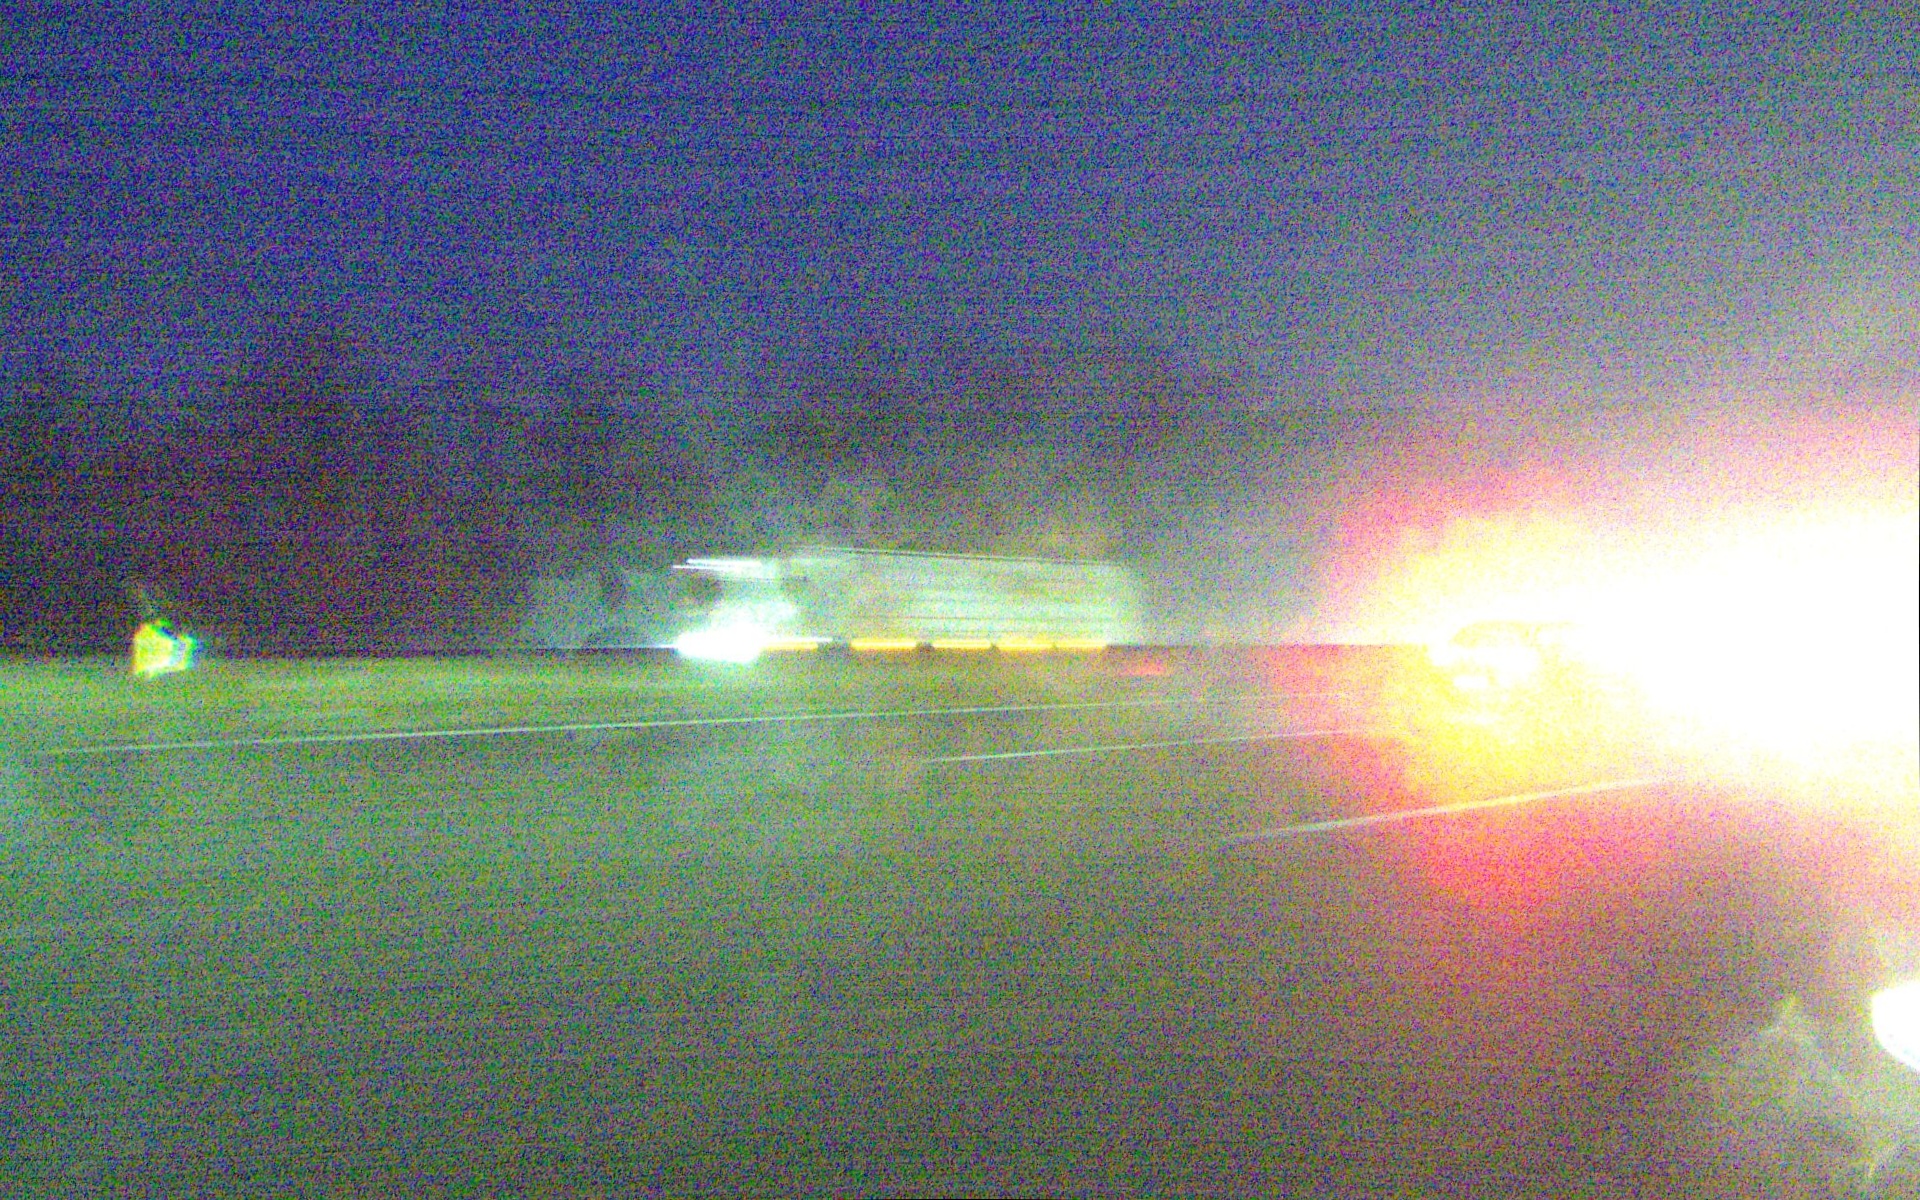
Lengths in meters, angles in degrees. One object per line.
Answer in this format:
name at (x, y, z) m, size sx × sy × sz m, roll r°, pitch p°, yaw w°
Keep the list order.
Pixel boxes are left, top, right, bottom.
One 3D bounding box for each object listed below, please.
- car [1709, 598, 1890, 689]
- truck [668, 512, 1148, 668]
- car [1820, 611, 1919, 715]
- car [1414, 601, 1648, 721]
car at (21.959, 1.073, 26.202) m, size 5.569 × 2.132 × 2.110 m, roll 1°, pitch 0°, yaw -33°
truck at (-1.147, -0.118, 35.634) m, size 17.394 × 4.619 × 3.393 m, roll 2°, pitch 0°, yaw -31°
car at (18.417, 1.166, 19.157) m, size 4.471 × 1.785 × 2.025 m, roll 2°, pitch 0°, yaw -35°
car at (9.295, 0.888, 16.264) m, size 3.959 × 1.712 × 1.754 m, roll 1°, pitch 0°, yaw -35°
